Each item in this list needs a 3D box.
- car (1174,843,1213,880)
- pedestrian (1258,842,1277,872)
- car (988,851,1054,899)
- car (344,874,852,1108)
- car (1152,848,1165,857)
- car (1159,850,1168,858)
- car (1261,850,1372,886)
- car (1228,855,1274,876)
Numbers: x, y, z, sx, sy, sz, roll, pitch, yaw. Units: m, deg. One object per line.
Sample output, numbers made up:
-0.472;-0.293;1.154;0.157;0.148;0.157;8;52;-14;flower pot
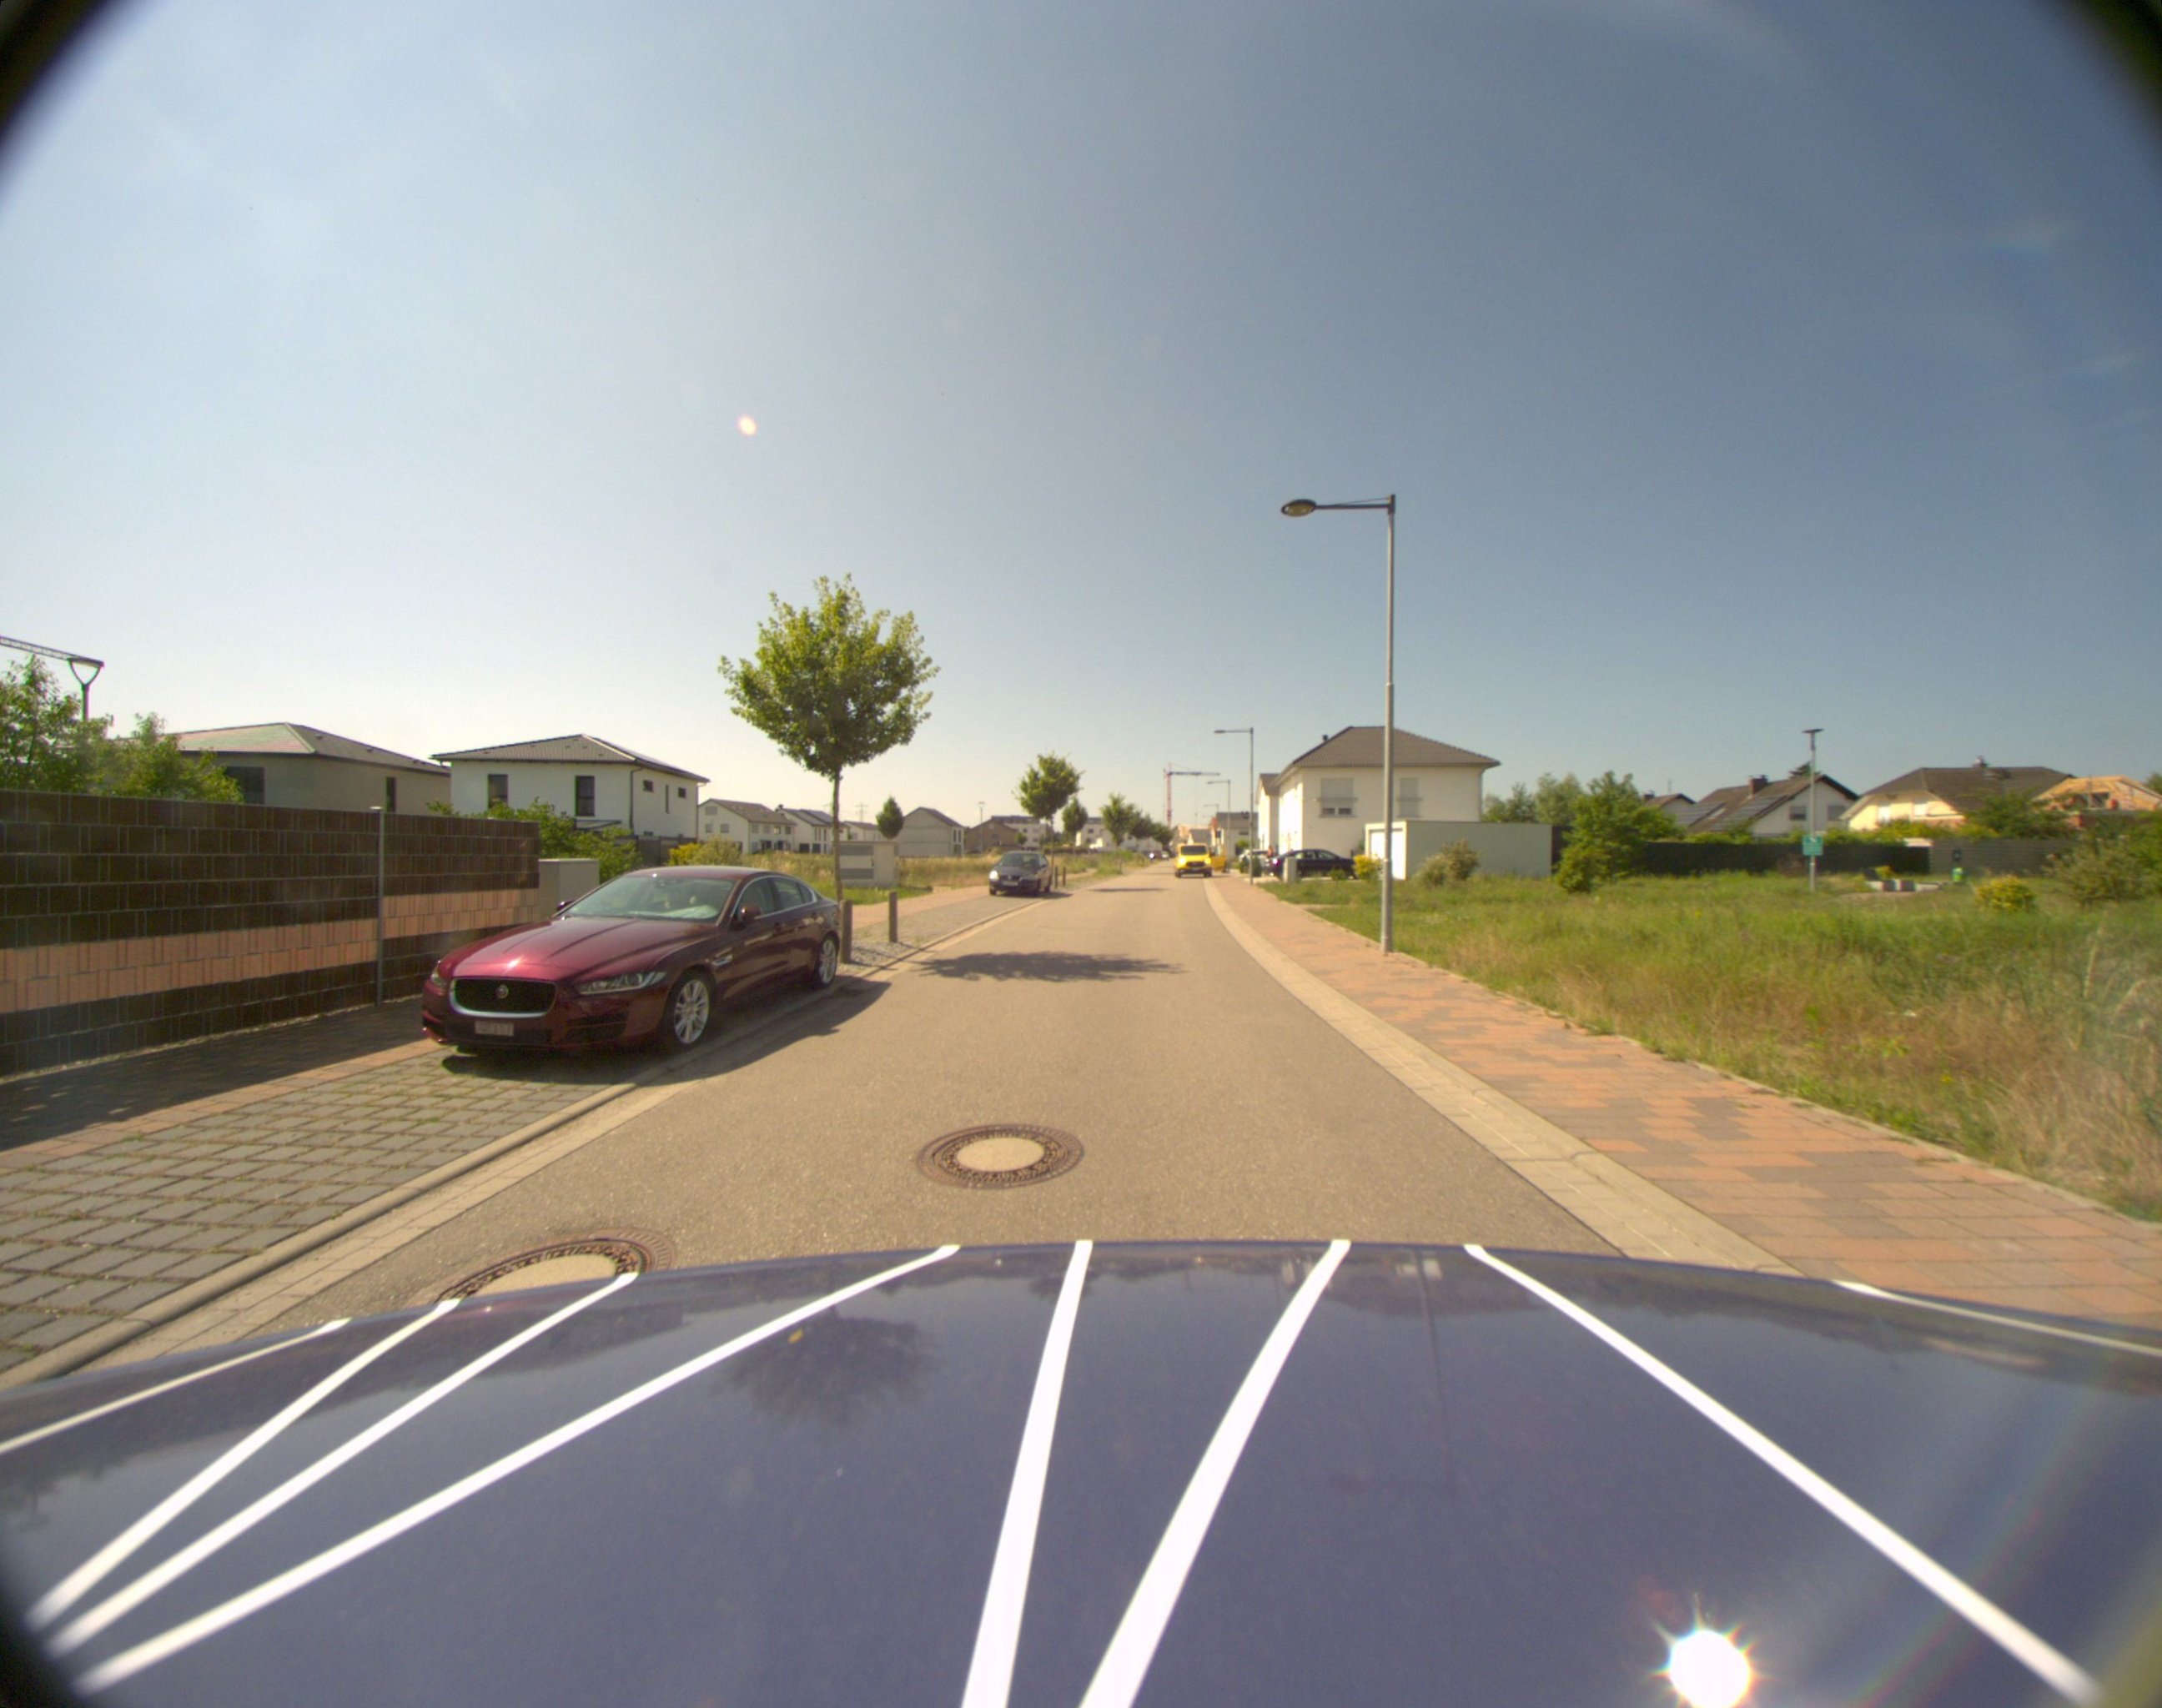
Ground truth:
6.588;0.399;44.915;1.888;2.002;4.842;-1;0;4;car
10.747;0.192;43.769;0.931;1.675;0.538;-2;1;18;pedestrian
-2.000;0.661;26.173;1.601;1.466;3.676;2;1;6;car
-3.868;0.953;7.267;1.758;1.355;4.576;1;0;3;car
11.922;-0.256;117.022;1.767;1.483;4.002;0;1;8;car
14.599;-0.069;134.789;1.492;1.389;3.274;0;1;8;car
10.451;0.597;33.908;4.405;1.444;1.748;-1;1;-5;car
15.212;0.978;68.168;3.994;1.842;2.001;0;1;9;car
